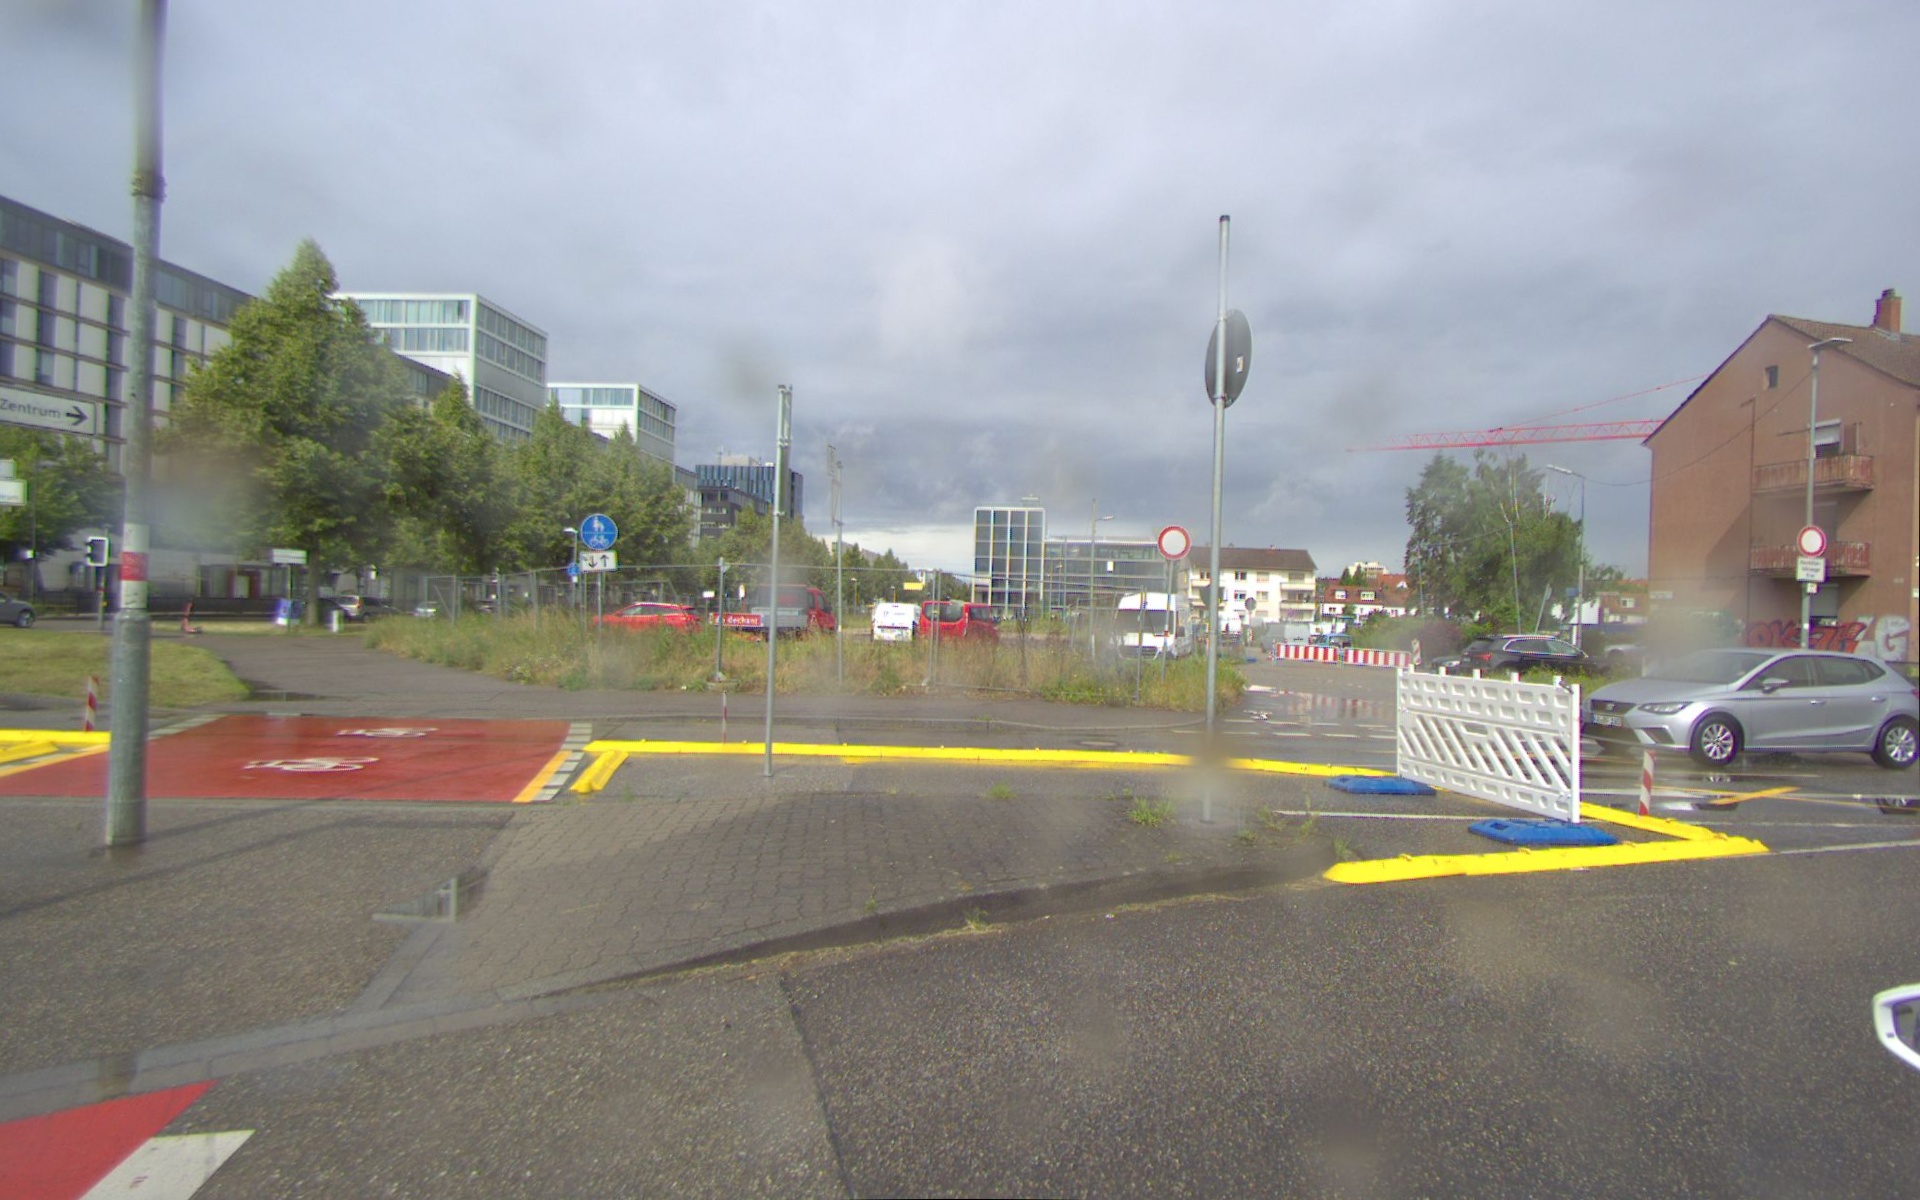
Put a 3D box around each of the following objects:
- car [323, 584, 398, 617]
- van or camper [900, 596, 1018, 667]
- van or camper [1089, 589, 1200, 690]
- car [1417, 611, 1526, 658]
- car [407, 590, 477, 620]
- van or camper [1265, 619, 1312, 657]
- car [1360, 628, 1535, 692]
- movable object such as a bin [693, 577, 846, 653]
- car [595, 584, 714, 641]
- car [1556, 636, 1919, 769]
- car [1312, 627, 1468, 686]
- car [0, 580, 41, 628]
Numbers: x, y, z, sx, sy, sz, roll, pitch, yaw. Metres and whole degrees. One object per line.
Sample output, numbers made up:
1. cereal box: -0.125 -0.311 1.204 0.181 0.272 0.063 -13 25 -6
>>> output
1. car: -33.847 0.054 56.794 1.732 1.773 3.609 2 0 7
2. van or camper: 0.117 1.097 36.160 2.391 2.217 6.401 2 -1 17
3. van or camper: 5.858 1.160 31.024 2.461 2.682 6.985 2 -1 17
4. car: 24.122 1.609 47.507 4.235 2.045 1.717 2 0 14
5. car: -30.571 0.300 59.398 1.792 1.639 3.773 2 0 7
6. van or camper: 21.819 2.498 66.904 1.959 2.304 5.922 2 0 9
7. car: 14.163 1.718 29.344 4.243 1.639 1.759 2 0 -3
8. movable object such as a bin: -6.736 0.570 36.615 2.622 2.419 6.617 2 -1 17
9. car: -11.876 0.496 39.248 3.920 2.040 2.001 2 -1 3
10. car: 10.237 1.296 12.996 4.101 1.433 1.742 3 0 -6
11. car: 13.572 1.785 31.860 4.176 1.639 1.759 2 0 -3
12. car: -30.730 0.055 30.687 3.475 1.433 1.742 3 0 -6
